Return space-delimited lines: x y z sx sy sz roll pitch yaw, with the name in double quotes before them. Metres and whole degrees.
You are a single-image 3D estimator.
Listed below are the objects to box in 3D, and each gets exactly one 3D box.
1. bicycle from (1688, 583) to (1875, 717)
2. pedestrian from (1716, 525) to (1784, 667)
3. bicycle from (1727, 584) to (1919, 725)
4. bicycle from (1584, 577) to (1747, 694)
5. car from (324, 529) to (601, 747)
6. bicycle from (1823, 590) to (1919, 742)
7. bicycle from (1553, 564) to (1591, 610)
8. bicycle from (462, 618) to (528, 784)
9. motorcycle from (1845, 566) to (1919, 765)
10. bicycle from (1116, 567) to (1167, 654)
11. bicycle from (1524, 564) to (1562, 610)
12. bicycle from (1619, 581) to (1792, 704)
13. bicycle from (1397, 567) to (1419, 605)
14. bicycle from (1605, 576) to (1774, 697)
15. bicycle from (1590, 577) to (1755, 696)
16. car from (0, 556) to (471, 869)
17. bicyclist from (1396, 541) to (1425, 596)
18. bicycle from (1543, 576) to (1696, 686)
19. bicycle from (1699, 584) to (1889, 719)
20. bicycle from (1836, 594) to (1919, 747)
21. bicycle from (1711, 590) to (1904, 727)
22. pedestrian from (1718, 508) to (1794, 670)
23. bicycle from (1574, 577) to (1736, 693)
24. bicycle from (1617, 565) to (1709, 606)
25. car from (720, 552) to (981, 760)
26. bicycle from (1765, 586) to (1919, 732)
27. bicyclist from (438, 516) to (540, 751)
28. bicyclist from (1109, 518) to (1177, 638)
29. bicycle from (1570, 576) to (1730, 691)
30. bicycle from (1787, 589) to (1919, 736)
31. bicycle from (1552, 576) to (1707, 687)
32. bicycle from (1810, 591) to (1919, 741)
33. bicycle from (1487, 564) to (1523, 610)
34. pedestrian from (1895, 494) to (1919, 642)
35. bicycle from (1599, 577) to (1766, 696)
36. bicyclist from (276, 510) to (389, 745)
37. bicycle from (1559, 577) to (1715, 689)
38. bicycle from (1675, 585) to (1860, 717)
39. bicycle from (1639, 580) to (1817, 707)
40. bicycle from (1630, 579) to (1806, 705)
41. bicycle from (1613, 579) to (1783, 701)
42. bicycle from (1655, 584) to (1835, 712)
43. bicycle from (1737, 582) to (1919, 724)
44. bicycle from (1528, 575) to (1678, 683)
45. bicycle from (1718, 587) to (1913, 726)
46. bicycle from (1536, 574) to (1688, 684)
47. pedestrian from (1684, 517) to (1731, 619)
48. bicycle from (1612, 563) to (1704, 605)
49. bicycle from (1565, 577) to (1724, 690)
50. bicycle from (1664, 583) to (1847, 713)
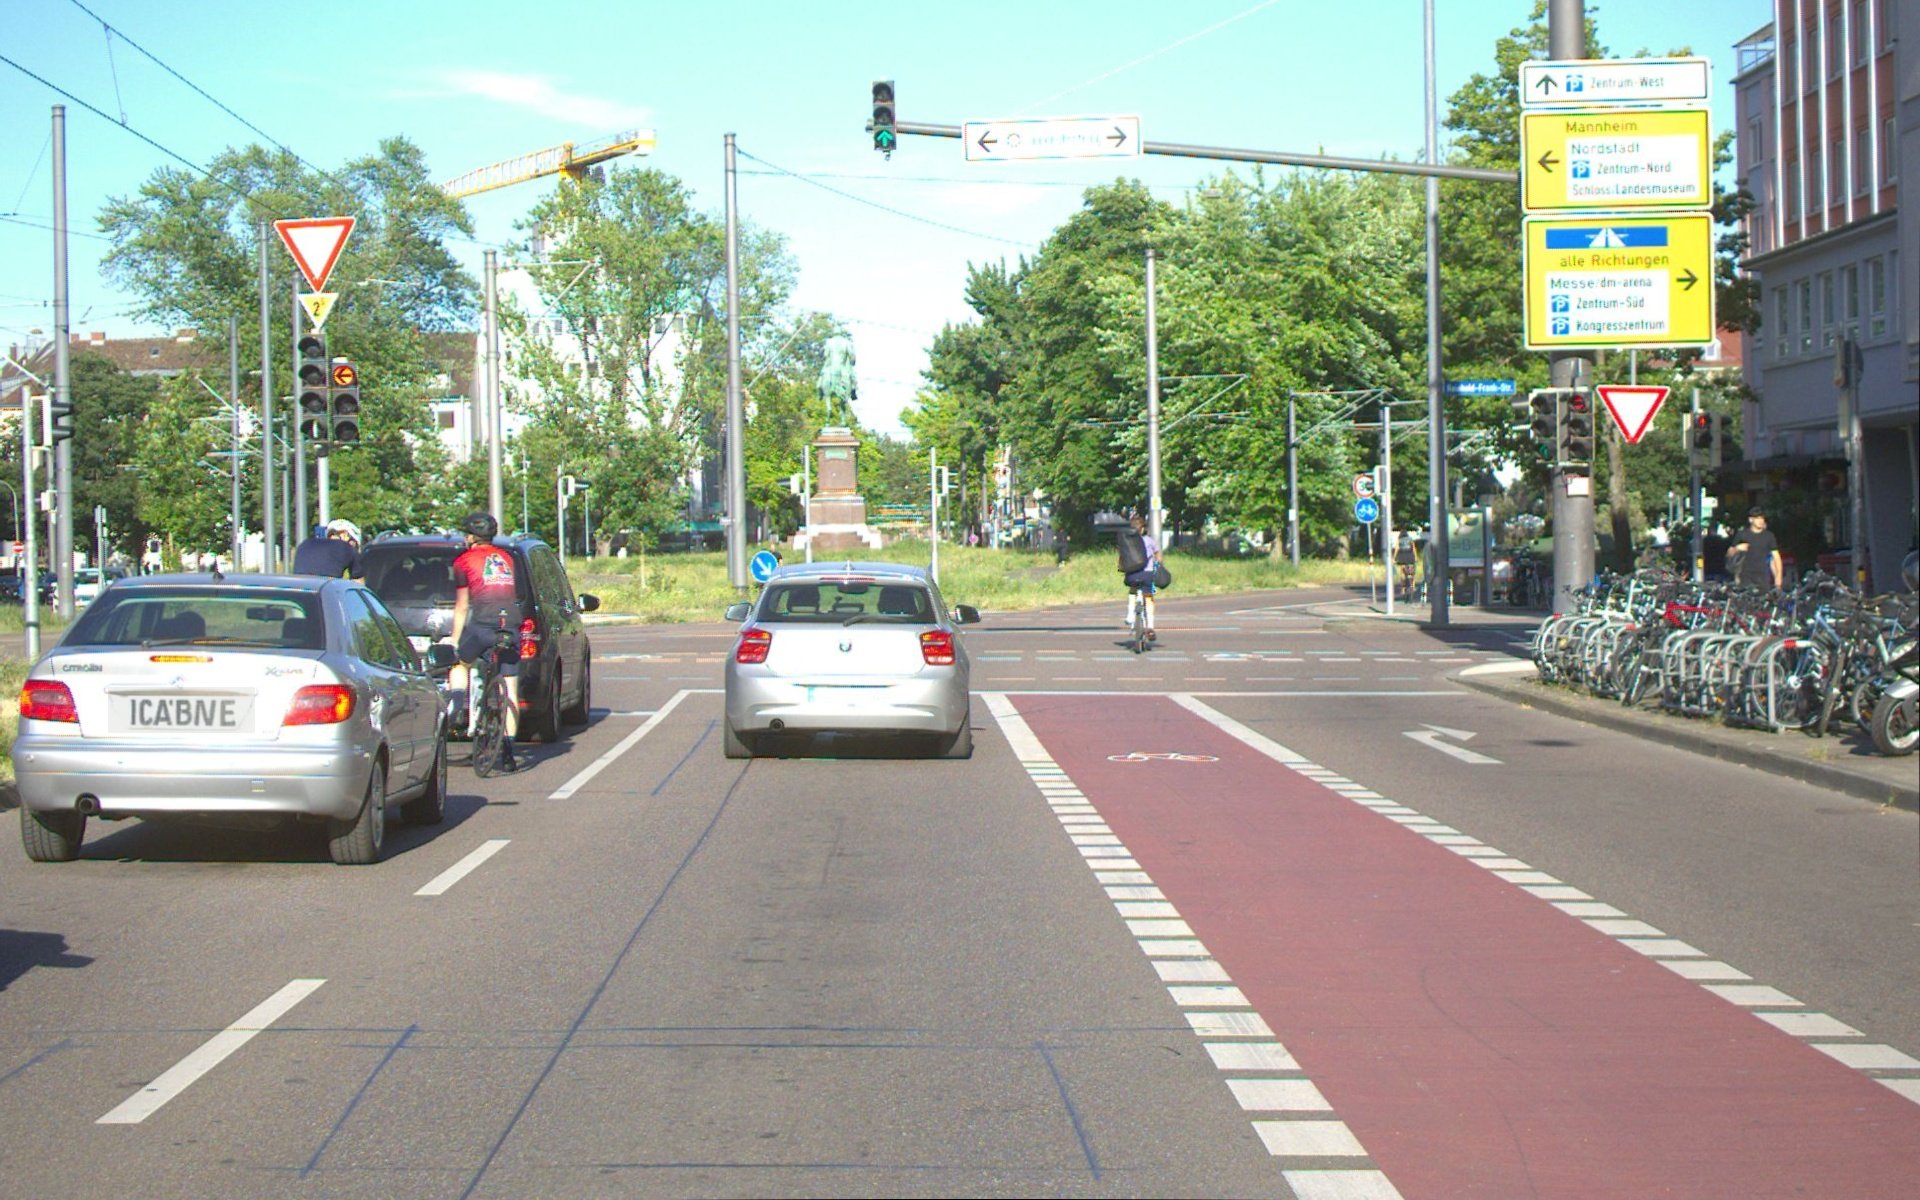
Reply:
"bicycle" 6.826 0.412 28.585 1.465 1.063 0.257 -2 0 1
"pedestrian" 10.447 -0.059 45.453 0.826 1.850 0.916 1 0 14
"bicycle" 6.840 0.429 27.171 1.465 1.063 0.257 -2 0 1
"bicycle" 6.672 0.331 32.520 1.465 1.063 0.257 -2 0 1
"car" -3.939 0.252 27.764 1.704 1.616 4.000 -1 1 -1
"bicycle" 6.986 0.462 24.722 1.465 1.063 0.257 -2 0 1
"bicycle" 13.594 -0.301 76.437 0.417 1.005 1.945 1 1 -2
"bicycle" -3.179 0.667 23.438 0.338 1.053 1.779 1 1 -11
"motorcycle" 6.936 0.404 22.962 1.855 1.296 0.652 -2 0 2
"bicycle" 2.338 0.122 44.409 0.499 1.085 1.997 1 1 -1
"bicycle" 12.930 -0.288 76.279 0.417 1.005 1.945 1 1 -2
"bicycle" 6.703 0.383 30.924 1.465 1.063 0.257 -2 0 1
"bicycle" 11.377 -0.358 87.383 0.352 0.955 1.573 1 1 0
"bicycle" 6.694 0.333 31.555 1.465 1.063 0.257 -2 0 1
"bicycle" 6.672 0.339 32.197 1.465 1.063 0.257 -2 0 1
"car" -3.596 0.493 17.711 1.644 1.416 4.000 0 1 -1
"bicyclist" 11.461 -0.809 87.475 0.616 1.375 0.686 1 0 0
"bicycle" 6.629 0.310 34.580 1.465 1.063 0.257 -2 0 1
"bicycle" 6.844 0.422 28.216 1.465 1.063 0.257 -2 0 1
"bicycle" 6.986 0.484 24.351 1.465 1.063 0.257 -2 0 1
"bicycle" 6.858 0.469 27.838 1.465 1.063 0.257 -2 0 1
"pedestrian" 10.042 -0.139 43.379 0.791 2.007 0.870 1 0 6
"bicycle" 6.635 0.332 32.828 1.465 1.063 0.257 -2 0 1
"bicycle" 18.854 -0.391 92.231 2.320 1.064 0.555 1 1 22
"car" -0.777 0.361 25.949 1.798 1.410 4.000 -1 1 0
"bicycle" 6.859 0.441 25.970 1.465 1.063 0.257 -2 0 1
"bicyclist" -3.222 0.219 23.469 0.616 1.566 0.686 -1 1 -12
"bicyclist" 2.356 -0.289 44.421 0.785 1.526 0.895 1 0 -1
"bicycle" 6.652 0.321 33.149 1.465 1.063 0.257 -2 0 1
"bicycle" 6.937 0.456 25.602 1.465 1.063 0.257 -2 0 1
"bicycle" 6.663 0.313 34.214 1.465 1.063 0.257 -2 0 1
"bicycle" 6.984 0.470 25.101 1.465 1.063 0.257 -2 0 1
"bicycle" 12.165 -0.300 76.815 0.417 1.005 1.945 1 1 -2
"pedestrian" 13.303 -0.428 47.137 0.877 2.007 0.911 1 0 14
"bicycle" 6.698 0.338 31.877 1.465 1.063 0.257 -2 0 1
"bicyclist" -4.252 0.180 23.331 0.616 1.566 0.686 1 0 0
"bicycle" 6.665 0.325 33.865 1.465 1.063 0.257 -2 0 1
"bicycle" 6.782 0.429 28.904 1.465 1.063 0.257 -2 0 1
"bicycle" 6.706 0.376 30.041 1.465 1.063 0.257 -2 0 1
"bicycle" 6.696 0.371 30.383 1.465 1.063 0.257 -2 0 1
"bicycle" 6.703 0.363 31.241 1.465 1.063 0.257 -2 0 1
"bicycle" 6.757 0.411 29.614 1.465 1.063 0.257 -2 0 1
"bicycle" 6.827 0.410 26.759 1.465 1.063 0.257 -2 0 1
"bicycle" 6.608 0.294 35.336 1.465 1.063 0.257 -2 0 1
"bicycle" 6.840 0.452 27.516 1.465 1.063 0.257 -2 0 1
"bicycle" 6.622 0.293 34.929 1.465 1.063 0.257 -2 0 1
"pedestrian" 14.104 -0.606 64.877 0.708 1.912 0.704 1 0 3
"bicycle" 18.586 -0.424 91.566 2.320 1.064 0.555 1 1 22
"bicycle" 6.668 0.323 33.511 1.465 1.063 0.257 -2 0 1
"bicycle" 6.768 0.410 29.271 1.465 1.063 0.257 -2 0 1
